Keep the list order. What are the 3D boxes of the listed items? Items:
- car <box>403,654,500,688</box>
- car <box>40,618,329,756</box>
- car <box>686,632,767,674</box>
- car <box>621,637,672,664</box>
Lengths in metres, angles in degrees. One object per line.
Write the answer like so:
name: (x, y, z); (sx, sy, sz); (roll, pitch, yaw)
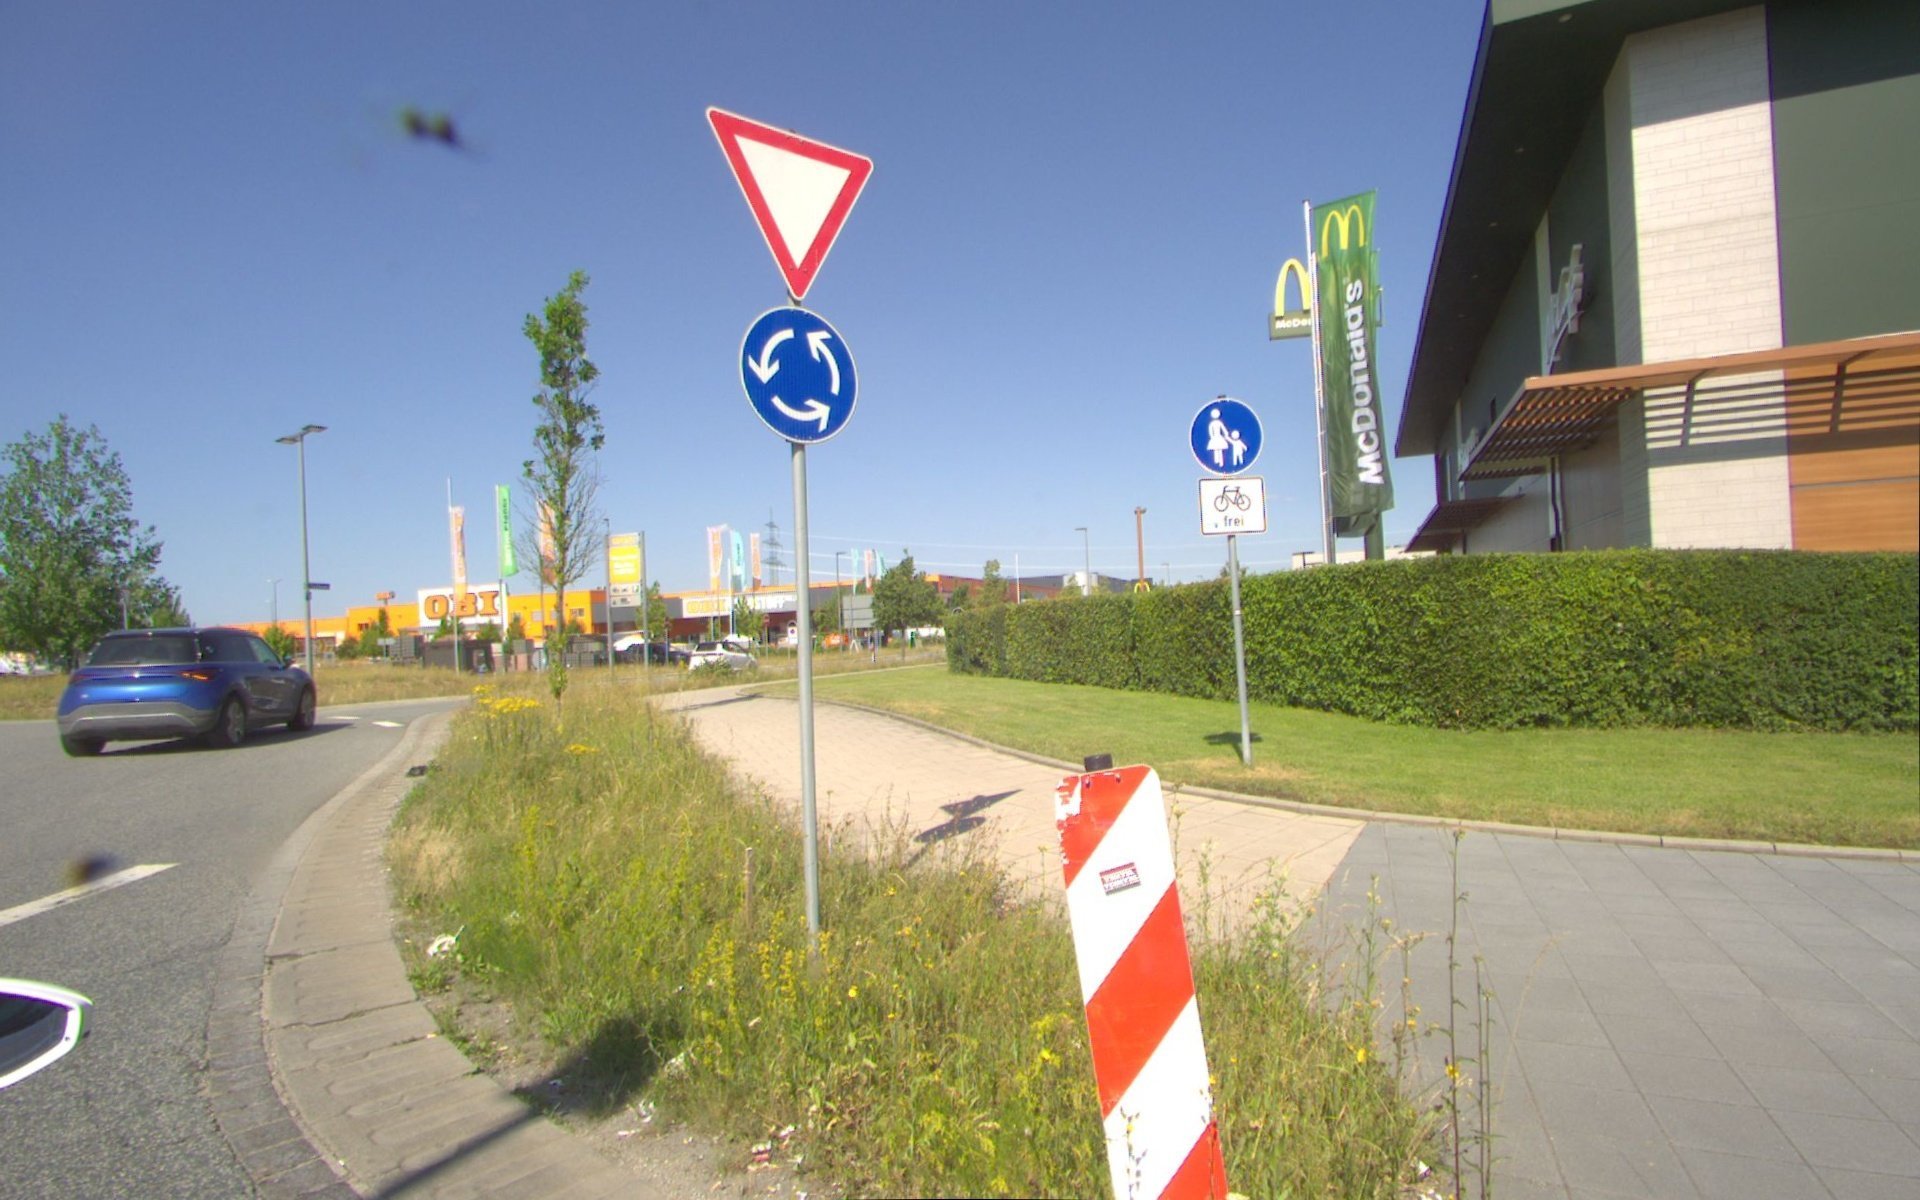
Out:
car: (-29.739, 4.142, 58.606); (4.607, 1.647, 2.079); (-4, -2, 7)
car: (-10.859, 1.137, 14.435); (1.823, 1.656, 4.076); (-1, -2, -15)
car: (-9.075, 2.028, 39.098); (1.488, 1.459, 3.344); (-3, -1, 19)
car: (-22.617, 3.640, 72.433); (1.670, 1.863, 3.771); (-3, -3, 17)
